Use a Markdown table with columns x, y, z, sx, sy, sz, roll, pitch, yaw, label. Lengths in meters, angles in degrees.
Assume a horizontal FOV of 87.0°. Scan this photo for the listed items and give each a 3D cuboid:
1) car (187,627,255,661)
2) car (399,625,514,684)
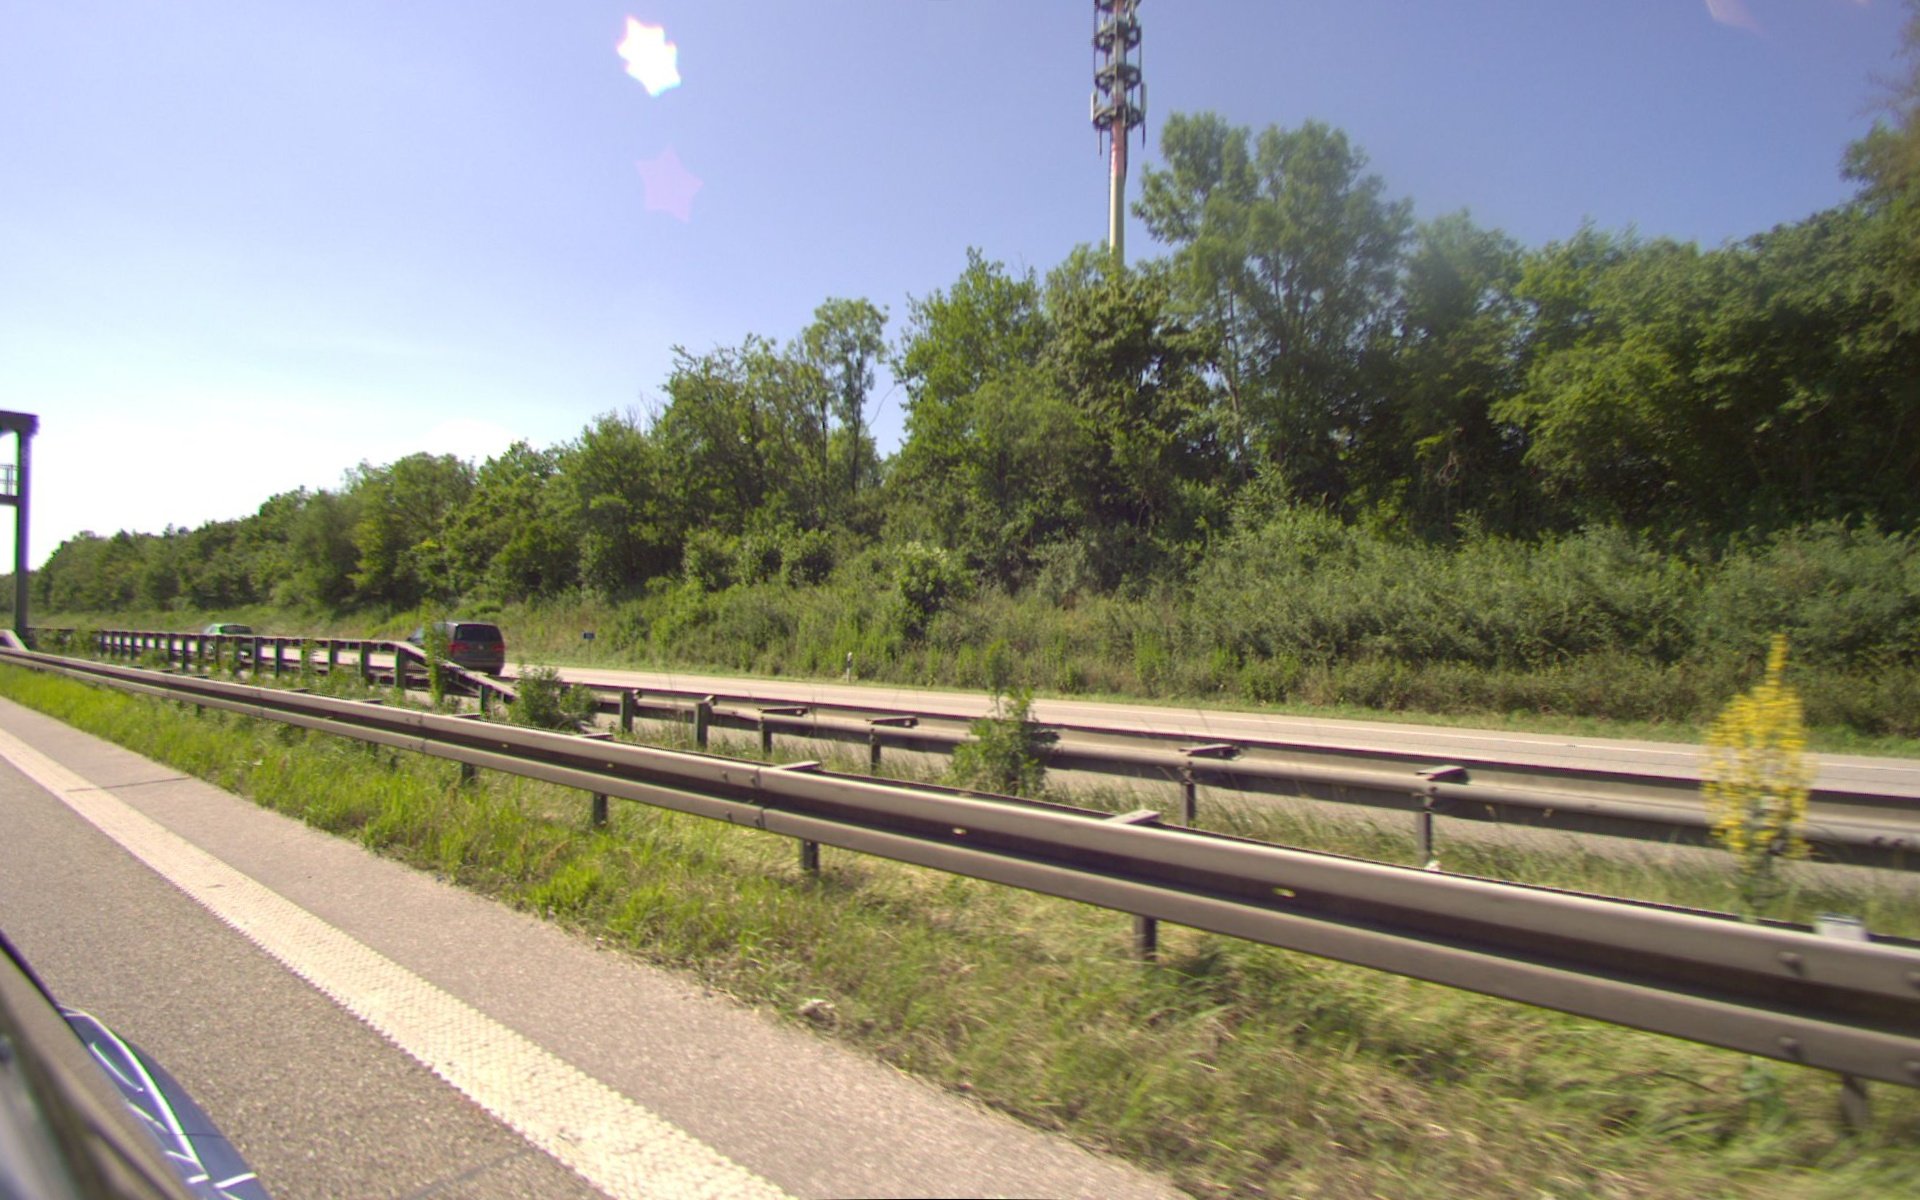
| x | y | z | sx | sy | sz | roll | pitch | yaw | label |
| --- | --- | --- | --- | --- | --- | --- | --- | --- | --- |
| -34.972 | 2.078 | 47.854 | 4.318 | 1.489 | 1.640 | -1 | -4 | 41 | car |
| -14.890 | 1.594 | 29.834 | 3.912 | 1.629 | 1.640 | -1 | -4 | 42 | car |
